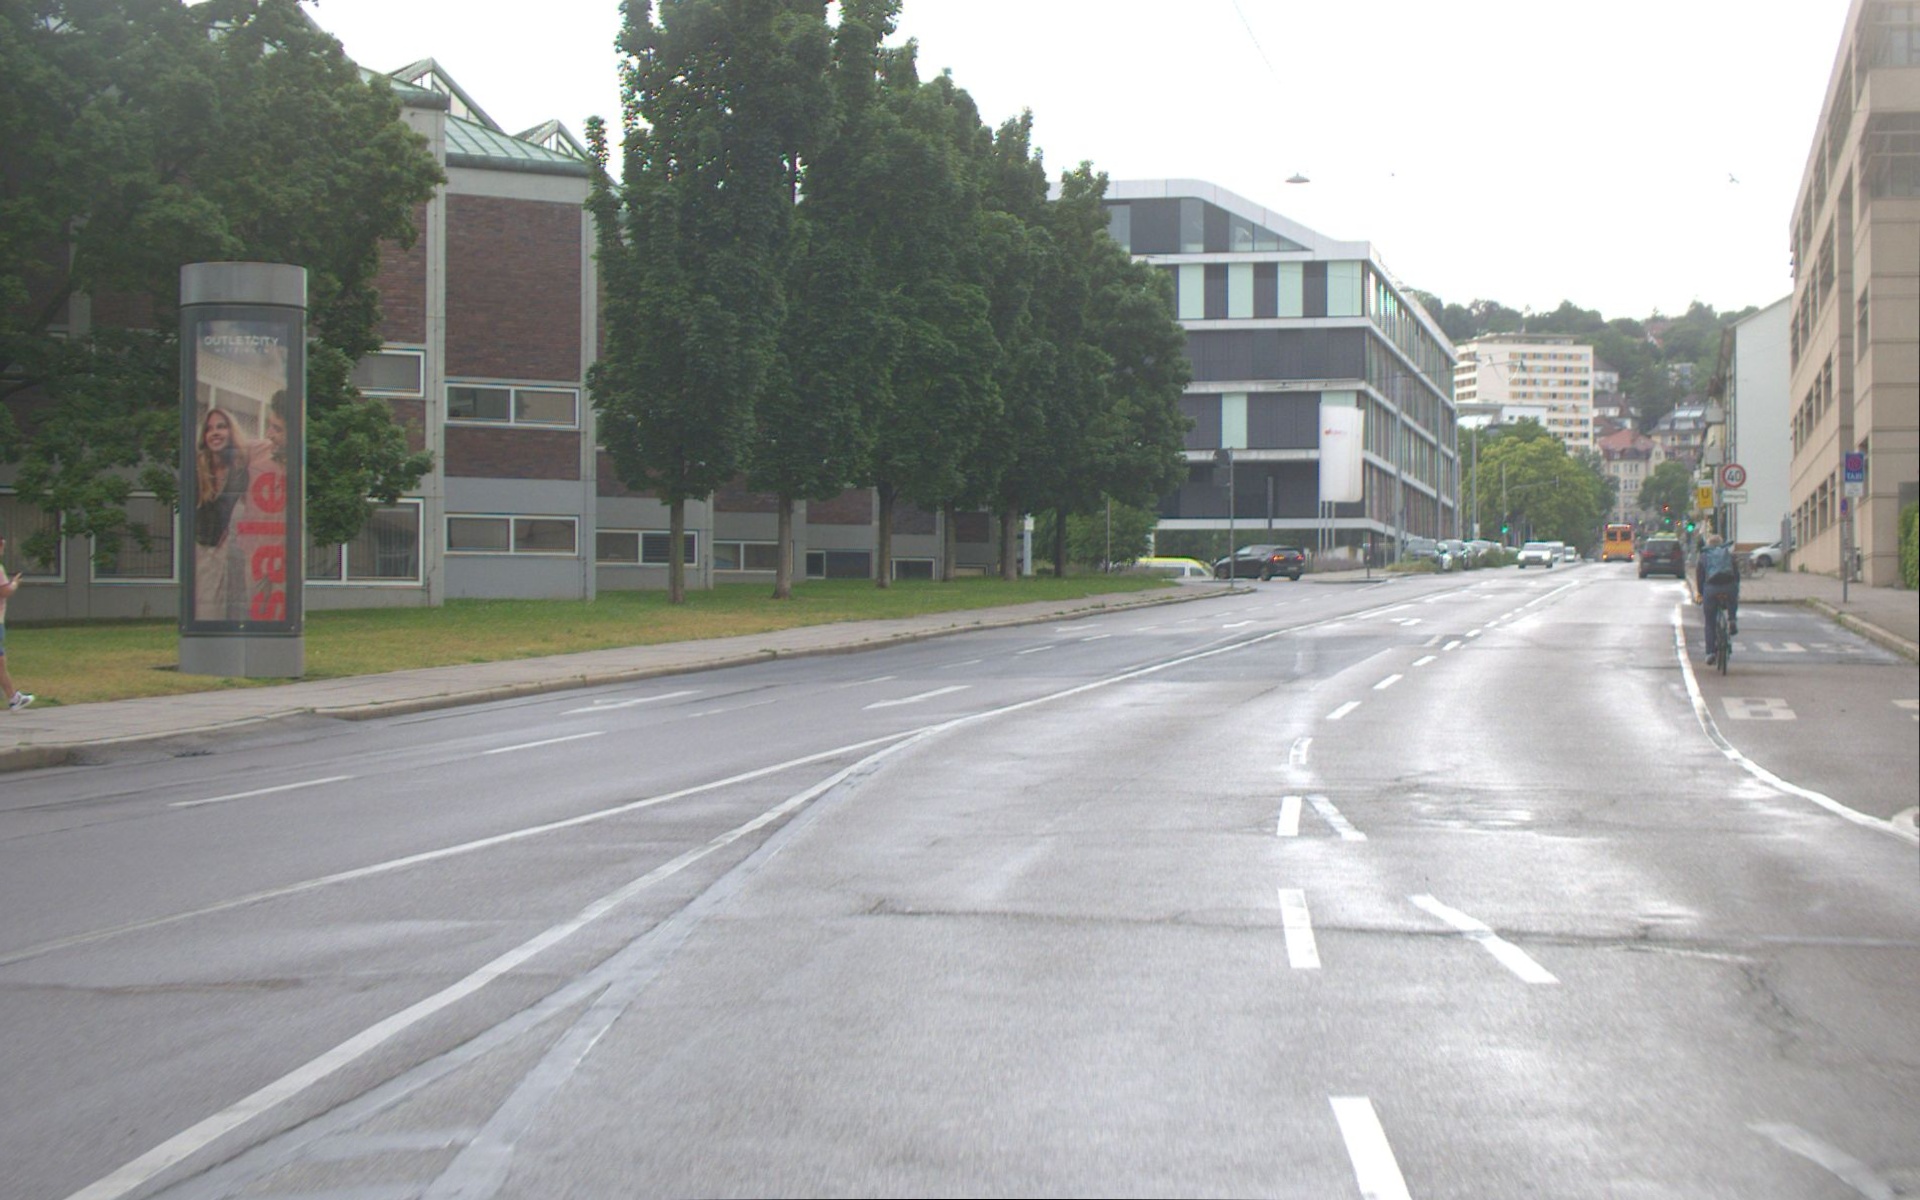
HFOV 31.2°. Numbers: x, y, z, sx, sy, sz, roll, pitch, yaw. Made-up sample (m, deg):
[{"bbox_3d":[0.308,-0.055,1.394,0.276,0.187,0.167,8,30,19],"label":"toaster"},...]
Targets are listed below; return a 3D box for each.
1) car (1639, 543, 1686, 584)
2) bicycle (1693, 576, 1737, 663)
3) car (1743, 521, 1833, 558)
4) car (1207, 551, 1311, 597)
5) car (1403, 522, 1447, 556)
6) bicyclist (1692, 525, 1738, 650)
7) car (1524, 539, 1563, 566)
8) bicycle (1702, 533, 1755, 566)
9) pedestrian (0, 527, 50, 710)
[{"bbox_3d":[28.676,-1.491,140.468,1.772,1.598,4.392,1,1,10],"label":"car"},{"bbox_3d":[8.736,0.215,39.771,0.448,0.960,1.689,0,2,14],"label":"bicycle"},{"bbox_3d":[43.266,-3.155,179.660,4.440,1.707,1.904,-3,0,11],"label":"car"},{"bbox_3d":[12.099,-1.066,139.157,3.908,1.809,1.933,1,0,15],"label":"car"},{"bbox_3d":[23.040,-3.015,170.310,1.850,1.612,4.488,1,1,12],"label":"car"},{"bbox_3d":[8.739,-0.145,39.777,0.484,1.428,0.929,1,0,14],"label":"bicyclist"},{"bbox_3d":[34.890,-2.840,205.476,1.883,1.486,5.216,-2,1,14],"label":"car"},{"bbox_3d":[26.299,-1.738,117.650,1.729,1.115,0.659,0,0,7],"label":"bicycle"},{"bbox_3d":[-9.020,0.160,31.974,0.670,1.680,0.912,1,0,19],"label":"pedestrian"}]
